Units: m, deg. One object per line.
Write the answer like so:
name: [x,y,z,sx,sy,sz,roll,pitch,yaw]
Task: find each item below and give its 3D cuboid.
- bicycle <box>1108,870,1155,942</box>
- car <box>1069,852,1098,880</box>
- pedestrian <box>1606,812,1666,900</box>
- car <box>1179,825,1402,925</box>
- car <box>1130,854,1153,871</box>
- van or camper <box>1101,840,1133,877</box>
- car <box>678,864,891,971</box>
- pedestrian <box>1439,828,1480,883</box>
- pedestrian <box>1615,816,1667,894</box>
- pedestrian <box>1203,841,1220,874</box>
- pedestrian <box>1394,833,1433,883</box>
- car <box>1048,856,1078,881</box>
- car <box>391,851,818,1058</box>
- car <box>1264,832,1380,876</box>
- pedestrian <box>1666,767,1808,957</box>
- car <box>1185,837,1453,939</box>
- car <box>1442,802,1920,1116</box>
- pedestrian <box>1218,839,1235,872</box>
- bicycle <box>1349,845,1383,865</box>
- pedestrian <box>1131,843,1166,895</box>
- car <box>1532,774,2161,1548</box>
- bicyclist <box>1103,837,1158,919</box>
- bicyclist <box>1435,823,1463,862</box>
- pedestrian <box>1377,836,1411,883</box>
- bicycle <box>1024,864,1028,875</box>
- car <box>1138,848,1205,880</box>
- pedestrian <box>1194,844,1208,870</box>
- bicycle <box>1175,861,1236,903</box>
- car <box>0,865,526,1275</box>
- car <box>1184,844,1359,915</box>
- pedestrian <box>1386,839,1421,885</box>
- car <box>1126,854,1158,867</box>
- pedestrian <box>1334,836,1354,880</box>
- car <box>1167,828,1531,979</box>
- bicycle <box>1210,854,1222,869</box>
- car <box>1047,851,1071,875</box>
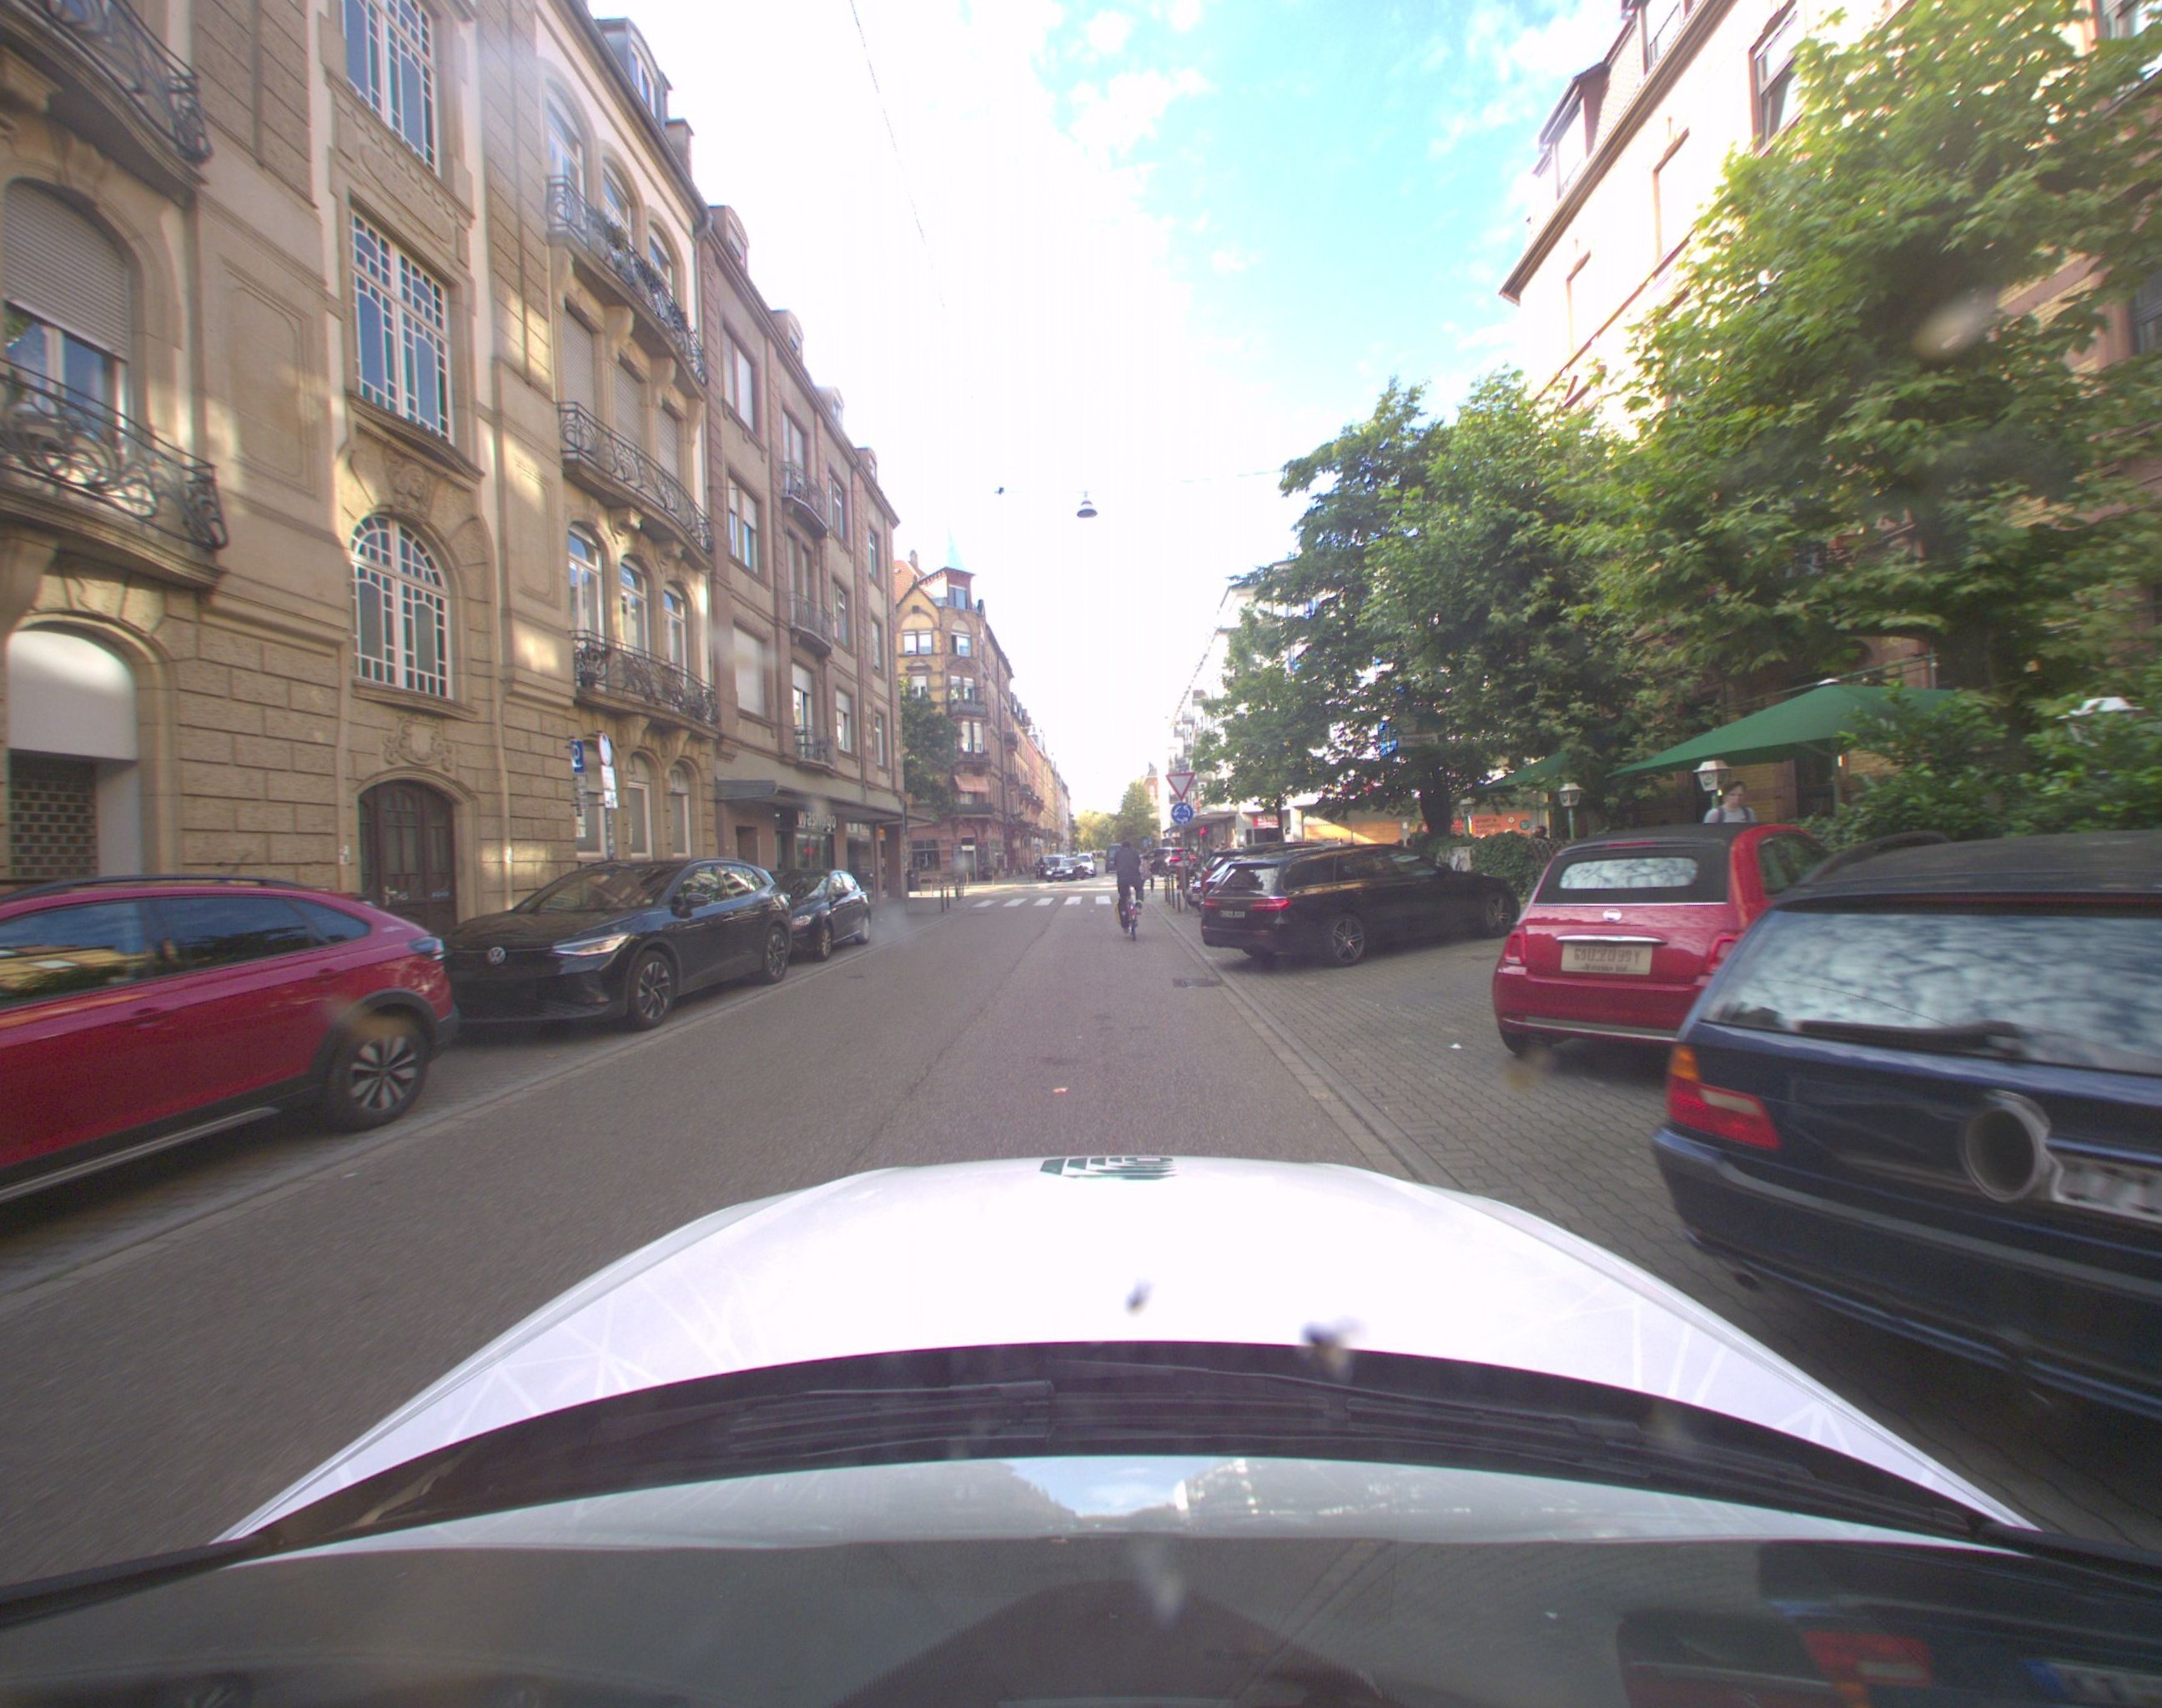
bicycle: [0.901,0.916,15.140,0.664,1.178,2.496,-2,0,-1]
car: [0.235,0.852,59.870,1.936,1.722,4.851,-4,1,1]
pedestrian: [10.977,0.041,16.124,0.644,1.642,0.563,-5,0,-3]
car: [4.495,0.393,17.428,4.362,1.645,1.806,-5,1,-25]
car: [5.876,0.797,79.428,1.985,1.486,4.003,-3,0,3]
van or camper: [3.152,0.395,72.553,2.524,3.037,4.457,-3,0,-1]
car: [-4.854,0.954,14.081,1.986,1.420,4.245,-3,0,1]
pedestrian: [10.092,0.049,21.734,0.670,1.406,0.758,-3,0,-2]
pedestrian: [11.767,0.018,17.128,0.627,1.570,0.570,-3,0,-3]
pedestrian: [7.621,0.197,47.662,0.864,1.851,0.613,-3,0,6]
pedestrian: [9.750,0.125,23.894,0.795,1.406,0.702,-3,0,-3]
car: [-1.077,0.903,50.702,1.744,1.436,4.211,-2,-1,0]
car: [-4.752,0.858,9.202,1.784,1.628,4.849,-3,-1,2]
car: [11.352,0.031,38.551,4.783,1.724,2.056,-3,1,41]
pedestrian: [6.886,0.083,8.593,0.835,1.878,0.724,-3,0,6]
car: [4.312,0.546,14.762,4.420,1.457,1.928,-3,0,-23]
car: [4.475,0.485,5.902,3.737,1.485,1.722,-4,1,-37]
pedestrian: [8.489,0.086,47.585,0.864,1.851,0.613,-3,0,6]
bicycle: [15.689,0.051,44.796,1.663,1.050,0.461,-3,0,41]
pedestrian: [2.351,0.521,28.401,0.774,1.779,0.798,-4,0,40]
car: [3.845,0.486,3.032,4.487,1.464,1.860,-5,1,-33]
bicyclist: [0.910,0.439,15.213,0.931,1.484,0.747,-2,-1,-1]
bicyclist: [16.402,-0.505,36.301,1.004,1.668,0.948,-3,0,21]
pedestrian: [9.675,0.160,25.162,0.755,1.392,0.548,-3,0,-3]
bicycle: [-5.253,1.461,77.659,0.359,0.947,1.714,-2,0,-3]
car: [4.988,0.580,45.510,2.002,1.618,3.970,-3,0,-22]
pedestrian: [7.682,0.179,52.242,0.740,1.629,0.815,-3,0,13]
bicycle: [3.343,0.783,22.085,0.551,1.040,1.840,-6,0,-27]
car: [-5.114,0.879,3.734,1.987,1.545,4.427,-3,-1,1]
car: [4.700,0.586,20.057,3.953,1.457,1.754,-3,0,-27]
pedestrian: [9.722,0.229,24.576,0.755,1.342,0.596,-3,0,-3]
car: [8.091,0.803,108.584,3.975,1.486,1.999,-3,0,-1]
pedestrian: [10.665,0.177,33.066,0.624,1.739,0.778,-3,0,14]
car: [3.810,0.552,11.458,4.779,1.456,2.039,-5,1,-27]
bicycle: [9.267,0.501,55.869,0.362,1.016,1.428,-3,0,-6]
car: [-2.006,0.830,74.809,1.987,2.013,3.999,-3,0,0]
